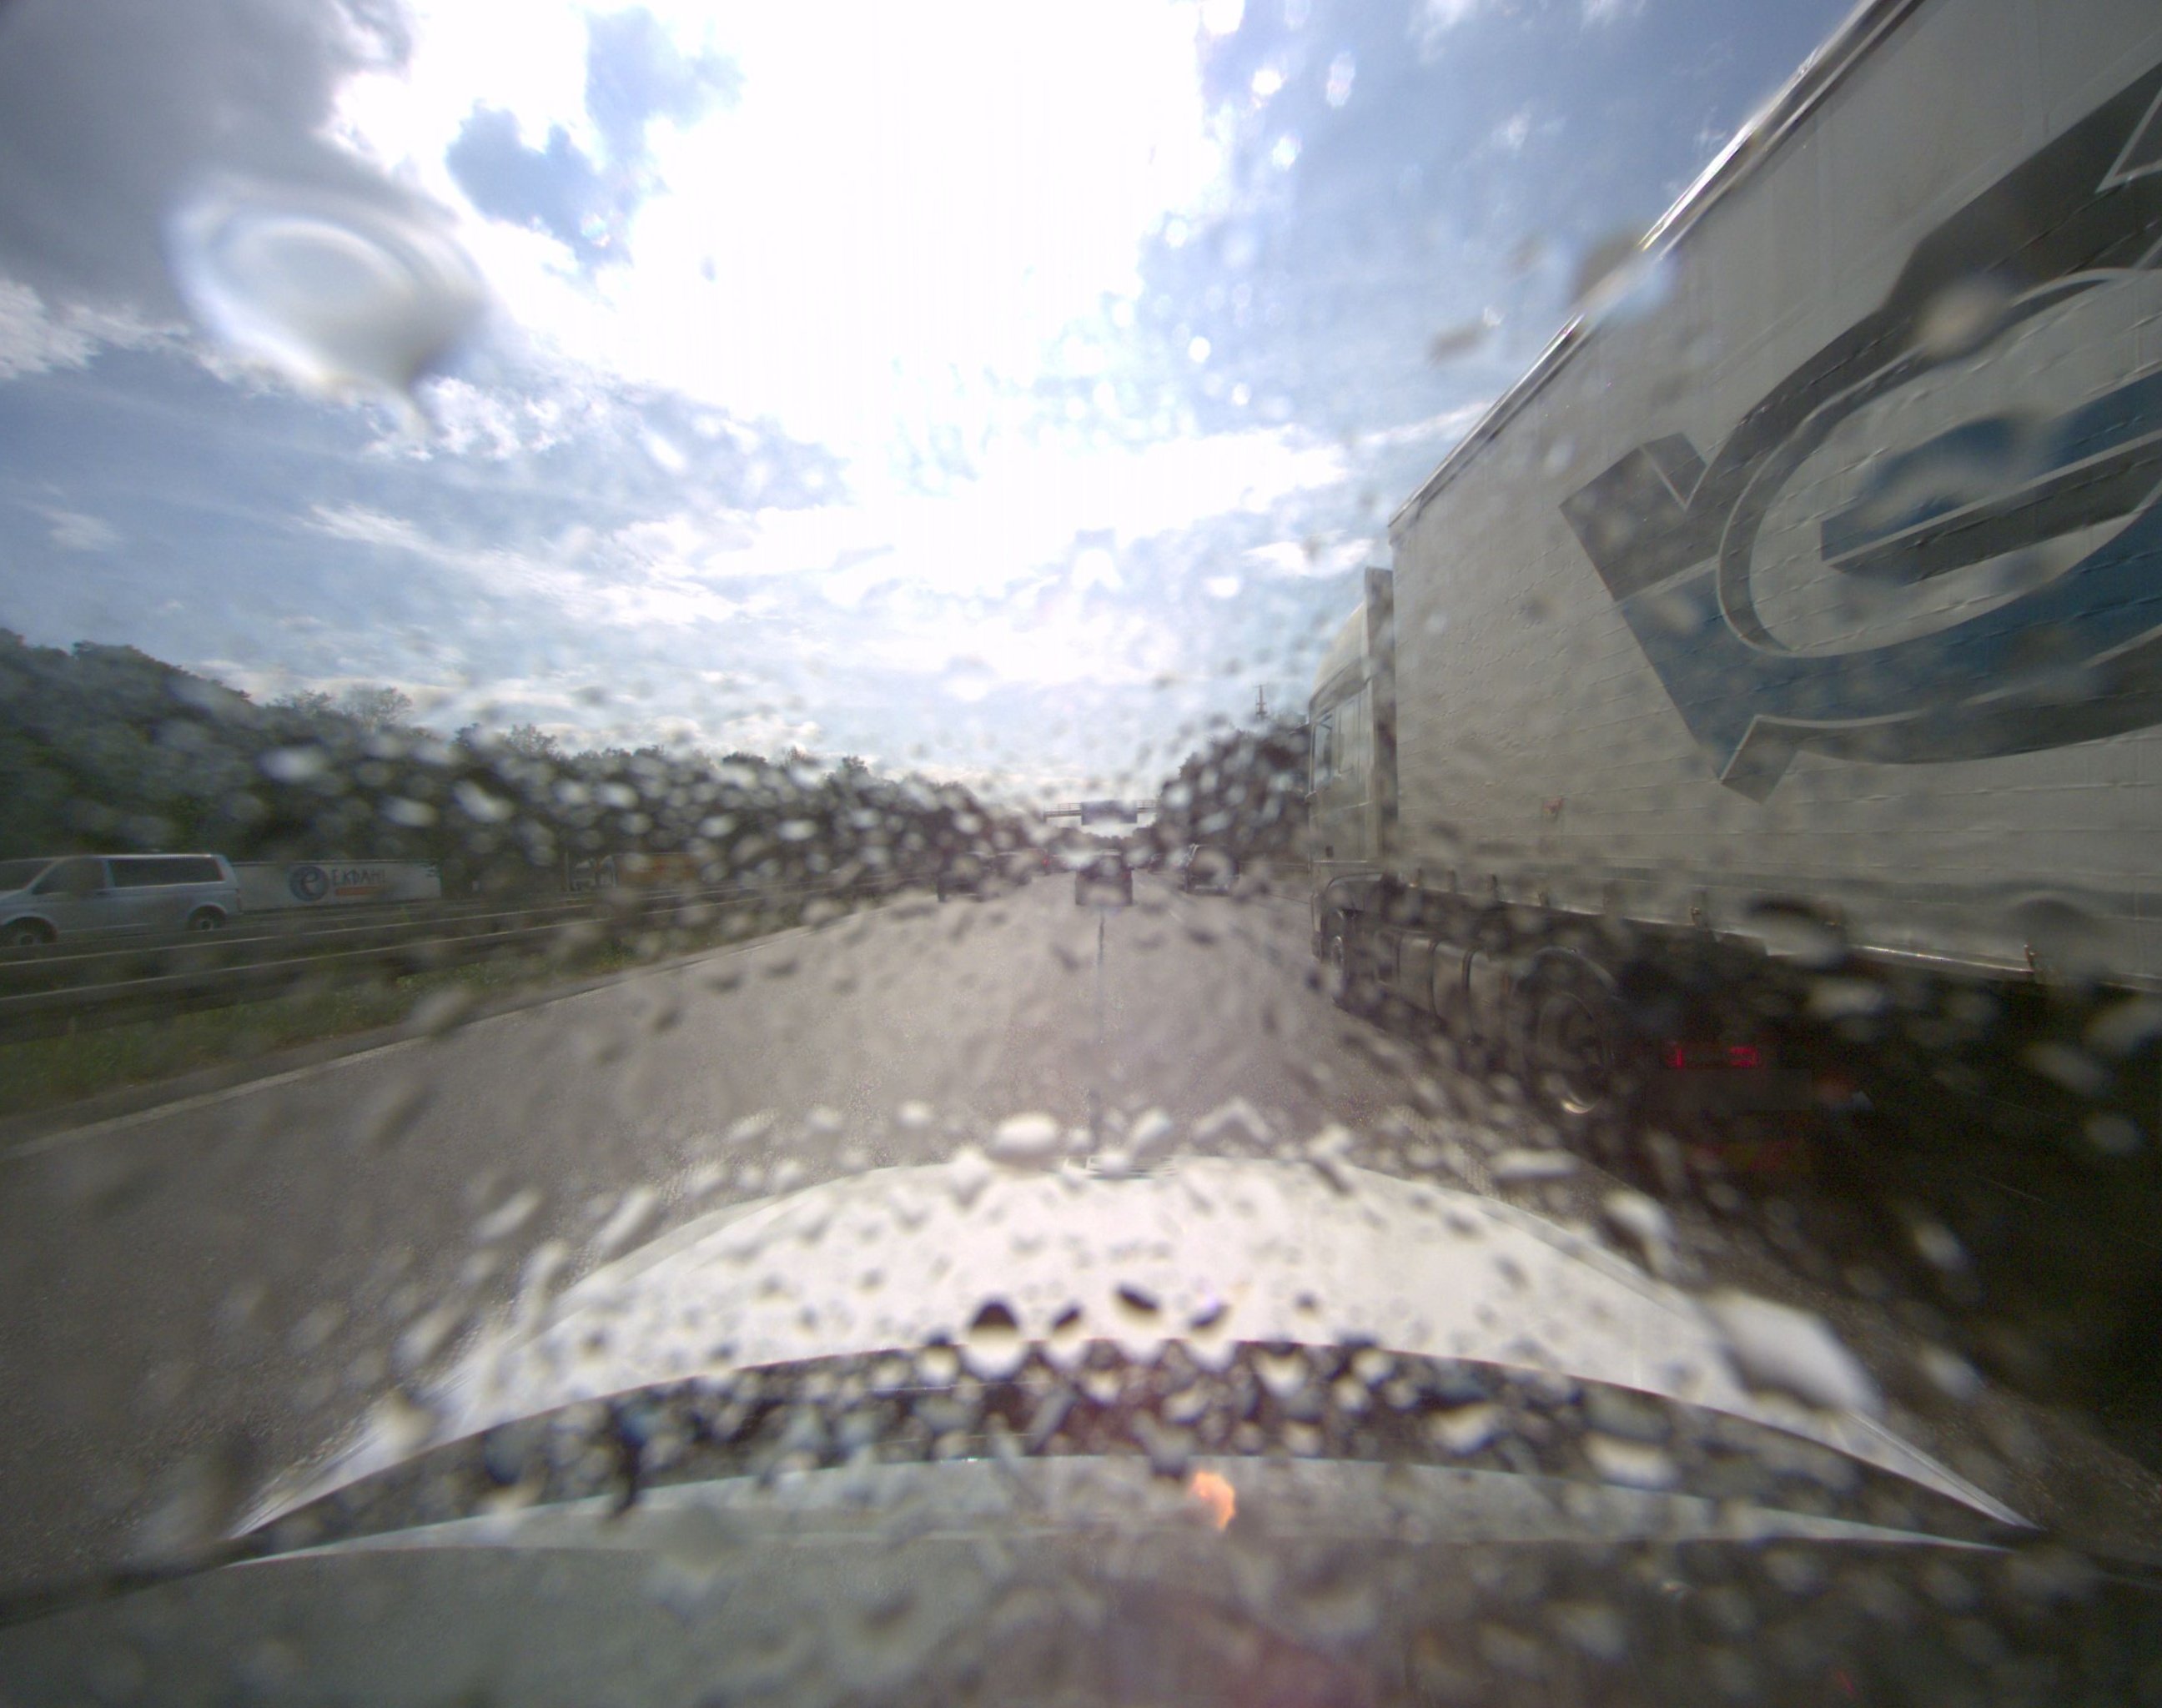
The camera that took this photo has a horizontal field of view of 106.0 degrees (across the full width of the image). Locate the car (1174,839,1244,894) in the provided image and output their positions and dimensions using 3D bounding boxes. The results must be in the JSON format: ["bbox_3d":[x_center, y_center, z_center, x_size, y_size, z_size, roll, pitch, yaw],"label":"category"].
[{"bbox_3d":[4.849,0.455,31.586,1.935,1.919,5.653,-1,0,1],"label":"car"}]

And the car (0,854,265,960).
[{"bbox_3d":[-20.341,0.978,16.607,2.039,1.891,5.260,-1,0,1],"label":"car"}]

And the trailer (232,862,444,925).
[{"bbox_3d":[-50.017,2.501,55.524,3.767,3.649,10.524,-2,0,9],"label":"trailer"}]

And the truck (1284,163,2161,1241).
[{"bbox_3d":[3.926,-0.564,6.141,3.273,3.891,6.396,0,0,1],"label":"truck"}]

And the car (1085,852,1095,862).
[{"bbox_3d":[1.890,0.609,166.153,1.986,2.115,4.891,-1,0,2],"label":"car"}]

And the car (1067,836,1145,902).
[{"bbox_3d":[0.756,0.460,26.503,2.267,1.954,4.821,-1,0,0],"label":"car"}]

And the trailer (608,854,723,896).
[{"bbox_3d":[-43.185,2.120,85.332,3.760,4.117,11.772,-1,-1,15],"label":"trailer"}]

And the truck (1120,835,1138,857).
[{"bbox_3d":[7.822,-1.269,133.978,2.764,3.631,5.920,-1,-1,2],"label":"truck"}]

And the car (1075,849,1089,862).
[{"bbox_3d":[0.141,0.263,132.537,1.986,2.115,4.891,-1,0,2],"label":"car"}]

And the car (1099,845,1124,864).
[{"bbox_3d":[2.469,0.036,67.386,1.859,1.516,3.974,-1,0,-1],"label":"car"}]

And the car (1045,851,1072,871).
[{"bbox_3d":[-1.868,0.592,69.124,1.986,1.564,4.759,-1,0,2],"label":"car"}]

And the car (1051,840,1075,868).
[{"bbox_3d":[-1.699,0.051,78.657,1.986,2.615,5.262,-1,-1,2],"label":"car"}]

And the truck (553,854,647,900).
[{"bbox_3d":[-45.397,2.080,77.158,3.760,4.117,7.073,-1,-1,15],"label":"truck"}]

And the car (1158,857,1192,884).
[{"bbox_3d":[5.631,0.973,48.987,1.586,1.516,3.975,-1,0,0],"label":"car"}]

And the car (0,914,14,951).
[{"bbox_3d":[-52.575,3.761,37.083,2.049,1.718,4.373,-1,0,4],"label":"car"}]

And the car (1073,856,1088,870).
[{"bbox_3d":[-0.030,1.429,124.962,1.986,2.115,4.891,-1,0,2],"label":"car"}]

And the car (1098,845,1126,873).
[{"bbox_3d":[2.074,0.347,55.404,1.687,1.805,3.975,-1,-1,0],"label":"car"}]

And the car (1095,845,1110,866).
[{"bbox_3d":[2.960,0.251,110.840,1.986,2.746,5.262,-1,-1,2],"label":"car"}]

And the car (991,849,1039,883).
[{"bbox_3d":[-3.443,0.643,43.349,1.901,1.636,4.619,-2,-1,2],"label":"car"}]

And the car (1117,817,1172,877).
[{"bbox_3d":[6.544,-0.616,87.207,4.390,5.830,16.812,-1,0,0],"label":"car"}]

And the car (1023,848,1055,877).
[{"bbox_3d":[-3.071,0.622,60.521,1.971,2.054,4.759,-1,0,2],"label":"car"}]

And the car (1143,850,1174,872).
[{"bbox_3d":[5.545,0.489,58.612,1.859,1.516,3.974,-1,0,-1],"label":"car"}]

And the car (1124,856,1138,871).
[{"bbox_3d":[7.405,1.406,121.044,1.986,2.115,4.891,-1,0,2],"label":"car"}]

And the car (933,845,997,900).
[{"bbox_3d":[-4.046,0.624,28.972,1.687,1.805,3.975,-1,-1,0],"label":"car"}]
